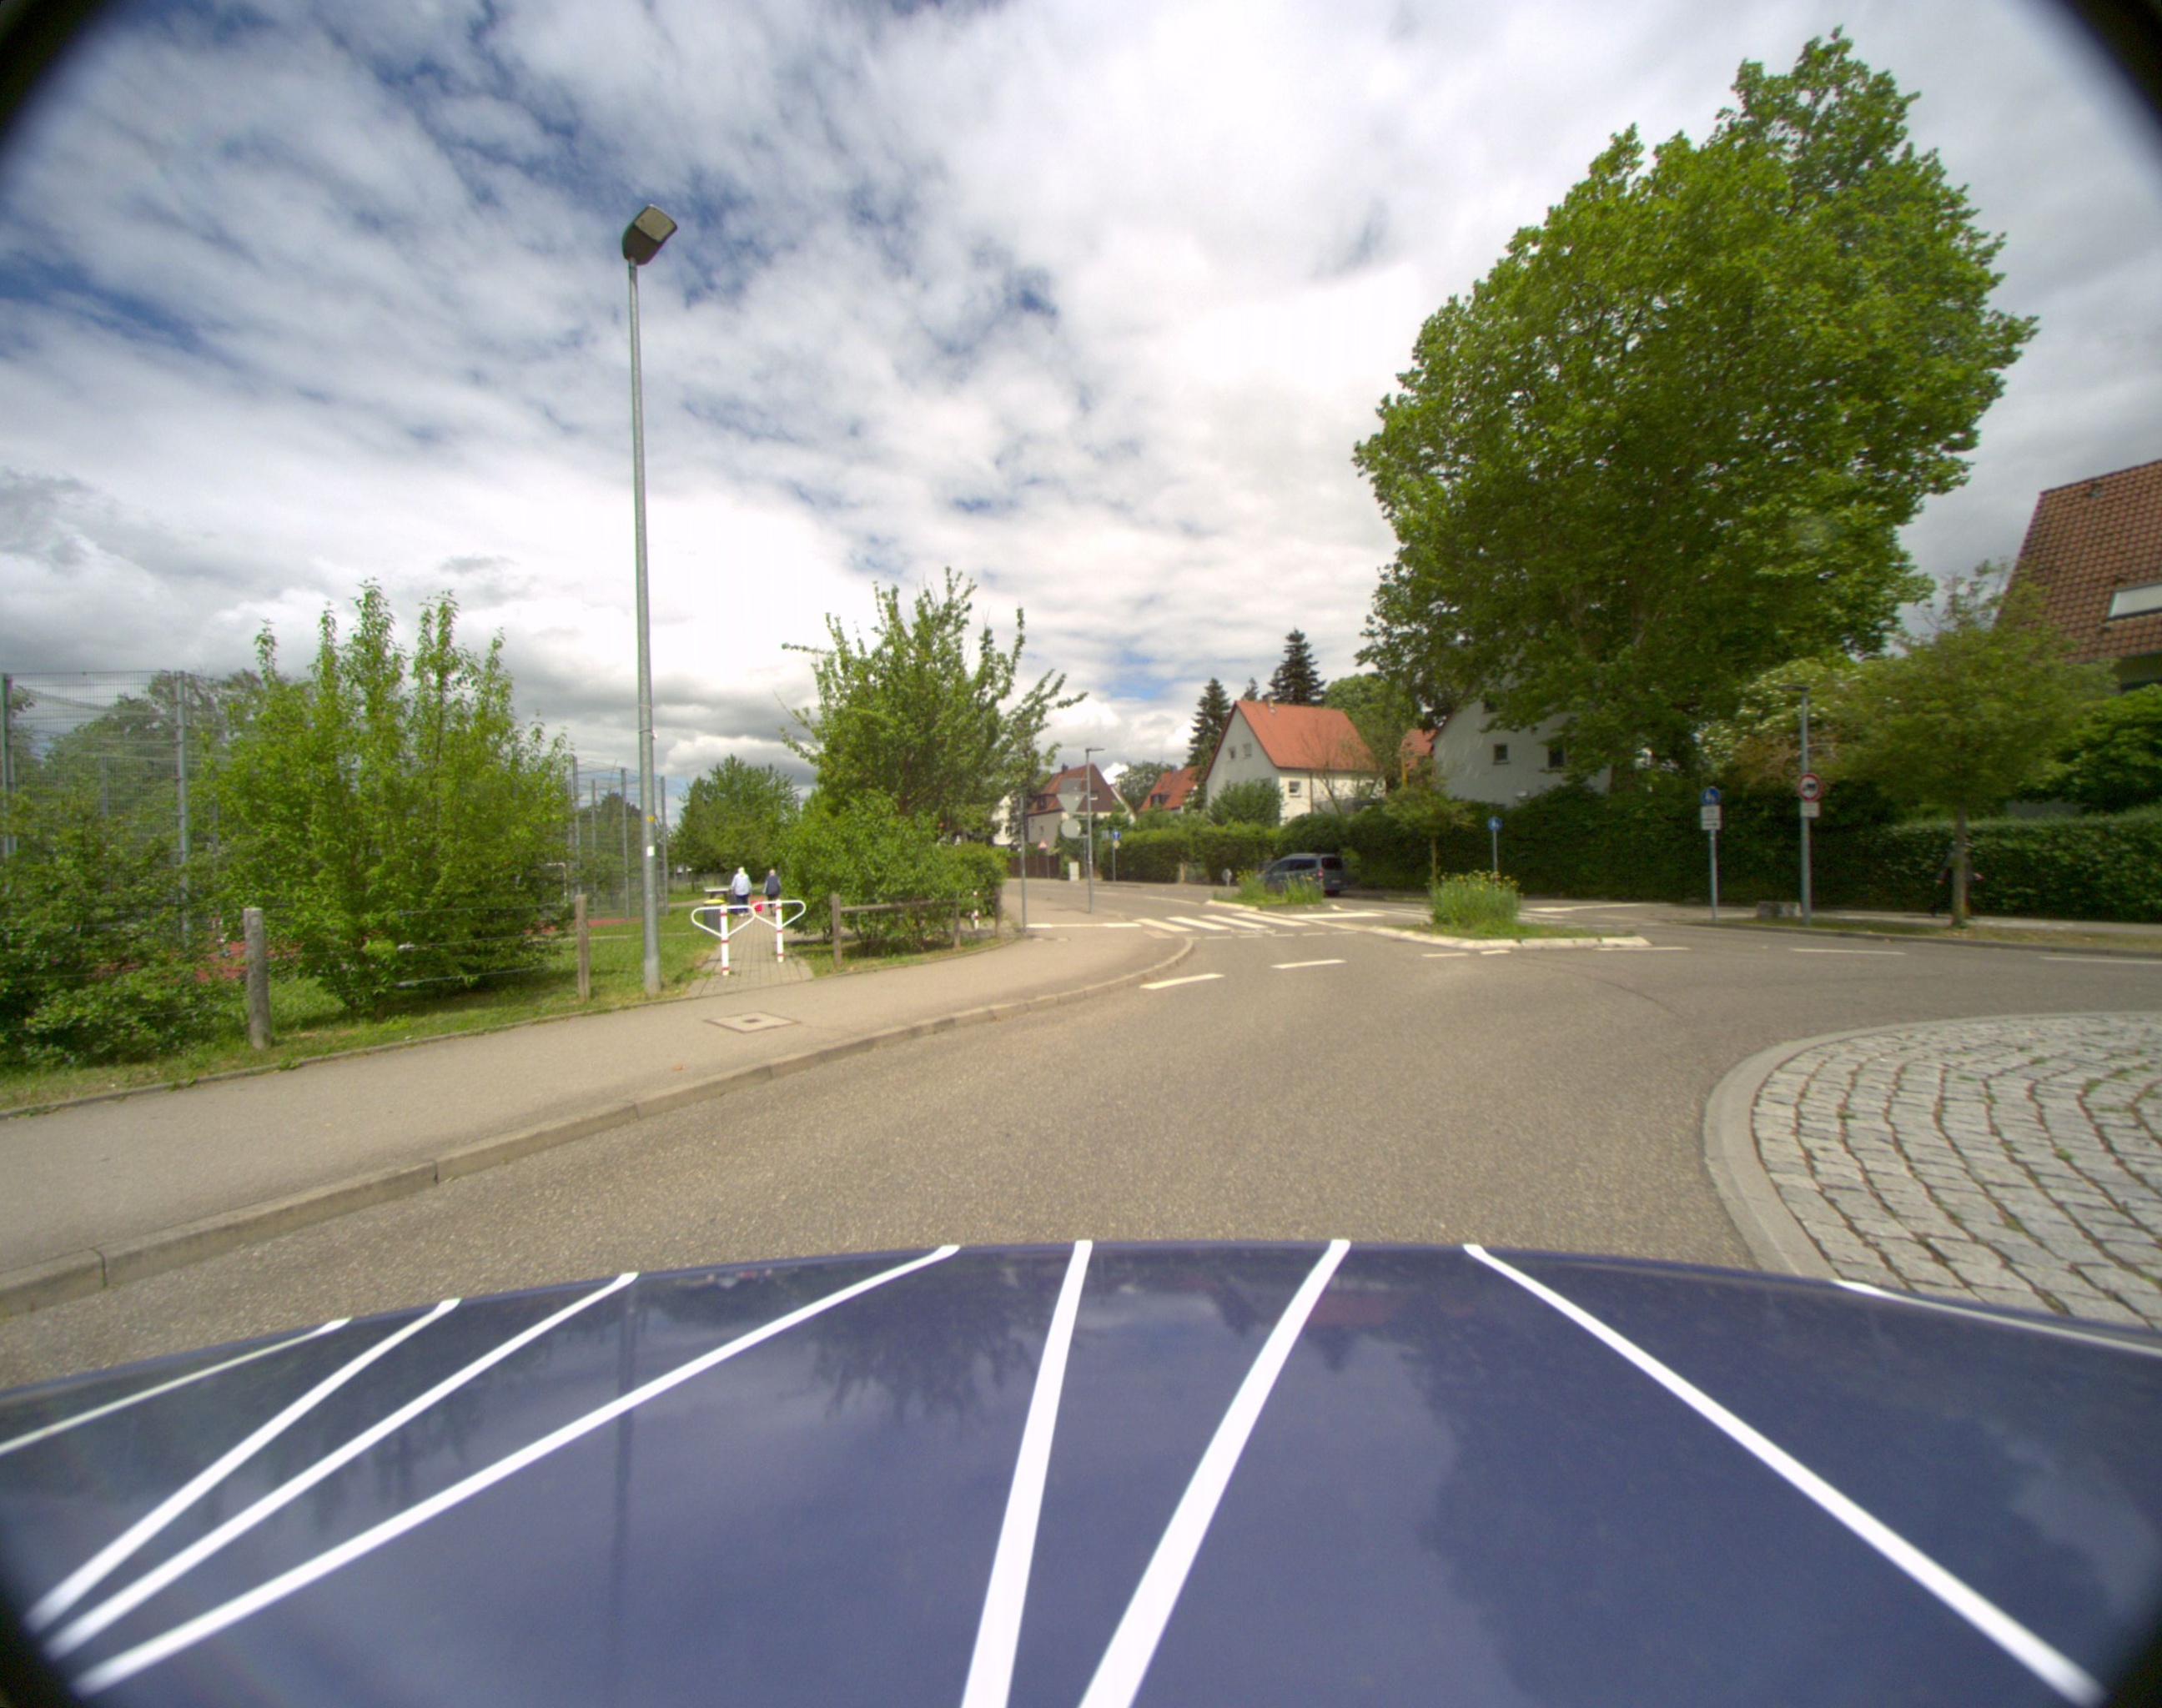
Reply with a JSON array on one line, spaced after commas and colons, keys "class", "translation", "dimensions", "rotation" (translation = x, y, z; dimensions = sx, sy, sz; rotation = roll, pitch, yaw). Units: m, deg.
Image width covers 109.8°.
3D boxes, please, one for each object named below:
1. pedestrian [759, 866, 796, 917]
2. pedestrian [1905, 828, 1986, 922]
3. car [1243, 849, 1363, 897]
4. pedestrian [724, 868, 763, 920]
[{"class": "pedestrian", "translation": [-10.672, 1.300, 26.722], "dimensions": [0.896, 1.684, 0.929], "rotation": [-4, 1, -38]}, {"class": "pedestrian", "translation": [19.129, 0.455, 16.819], "dimensions": [0.876, 2.002, 1.038], "rotation": [0, 0, -30]}, {"class": "car", "translation": [9.242, 0.777, 31.962], "dimensions": [2.142, 1.762, 4.454], "rotation": [-4, 1, -33]}, {"class": "pedestrian", "translation": [-11.504, 1.351, 25.898], "dimensions": [0.896, 1.684, 0.929], "rotation": [-4, 1, -38]}]
